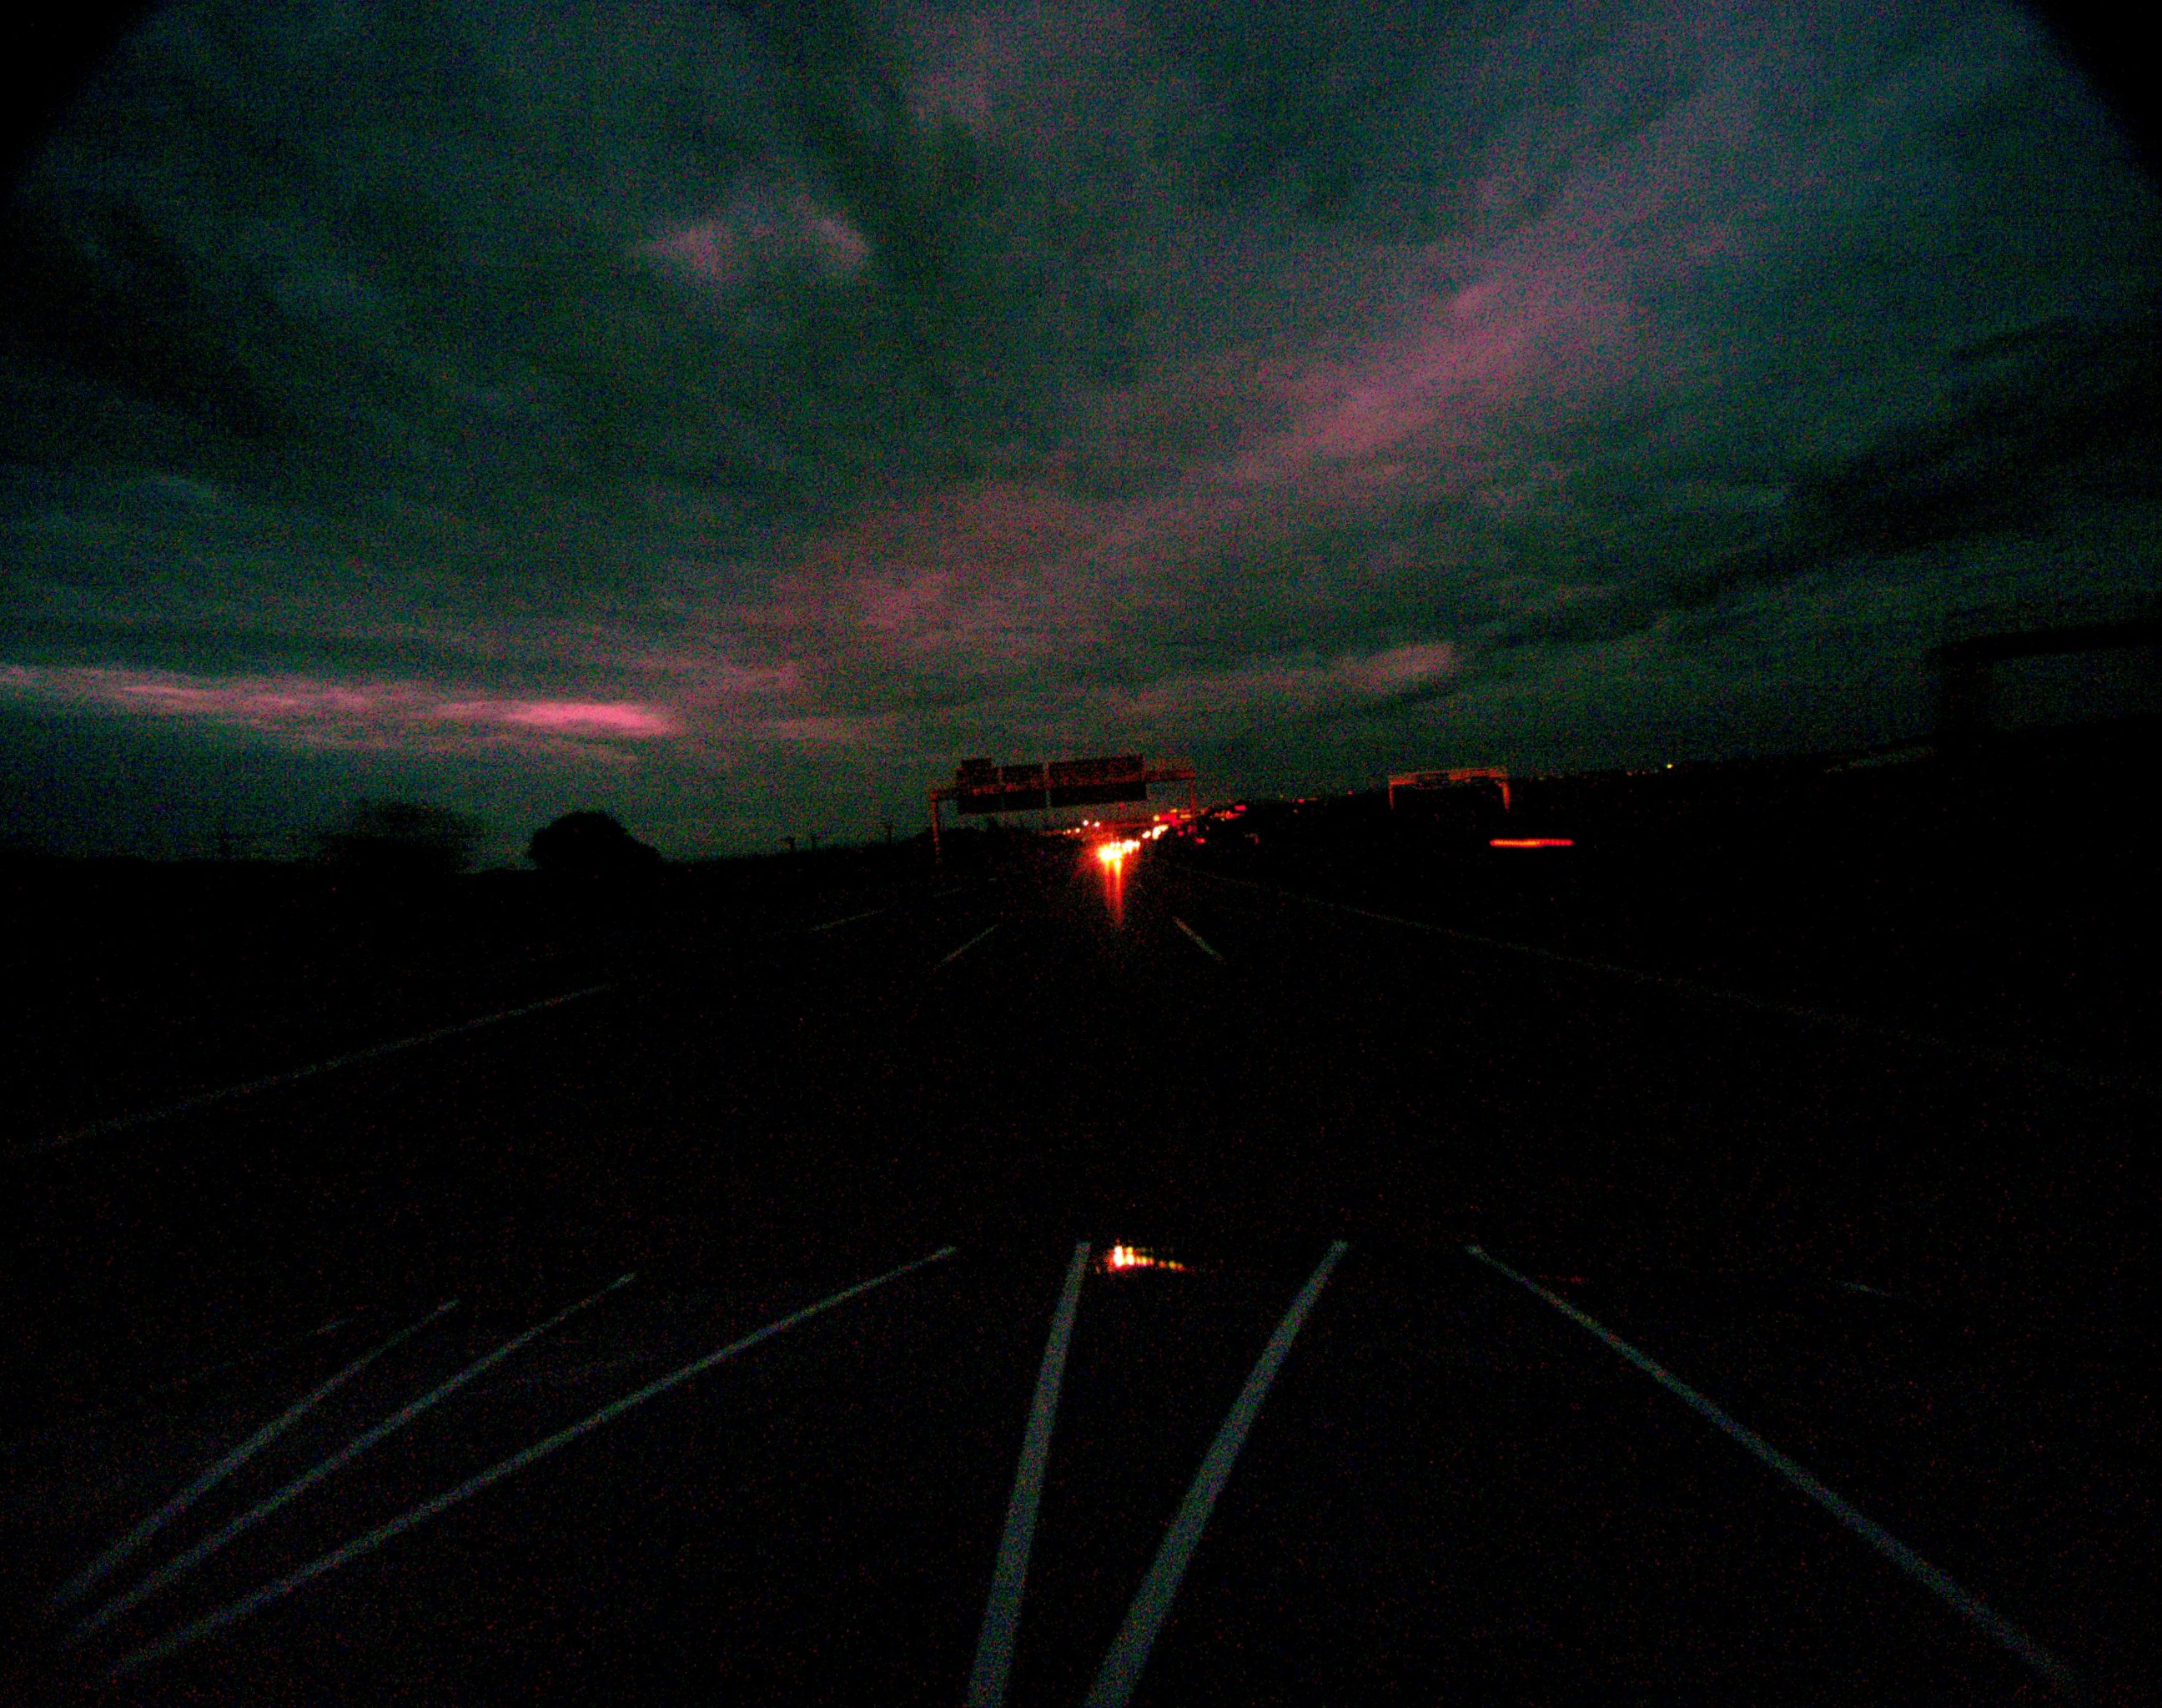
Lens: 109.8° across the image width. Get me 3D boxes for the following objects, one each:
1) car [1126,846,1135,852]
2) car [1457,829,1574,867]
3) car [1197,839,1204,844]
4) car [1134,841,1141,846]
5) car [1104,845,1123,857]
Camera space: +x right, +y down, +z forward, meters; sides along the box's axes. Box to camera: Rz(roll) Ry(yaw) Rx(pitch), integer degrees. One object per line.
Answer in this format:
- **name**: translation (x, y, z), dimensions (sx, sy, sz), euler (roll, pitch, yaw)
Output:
- **car**: translation (12.892, -1.374, 197.790), dimensions (1.998, 1.342, 4.176), euler (-5, 1, 5)
- **car**: translation (17.807, -0.220, 31.461), dimensions (1.998, 1.350, 4.865), euler (-2, 0, 0)
- **car**: translation (37.967, -3.920, 241.658), dimensions (1.997, 1.395, 4.332), euler (-2, 0, 9)
- **car**: translation (18.423, -3.380, 248.184), dimensions (1.998, 1.342, 4.176), euler (-5, 1, 5)
- **car**: translation (3.929, -0.346, 91.838), dimensions (1.998, 1.342, 4.176), euler (0, 2, 5)
